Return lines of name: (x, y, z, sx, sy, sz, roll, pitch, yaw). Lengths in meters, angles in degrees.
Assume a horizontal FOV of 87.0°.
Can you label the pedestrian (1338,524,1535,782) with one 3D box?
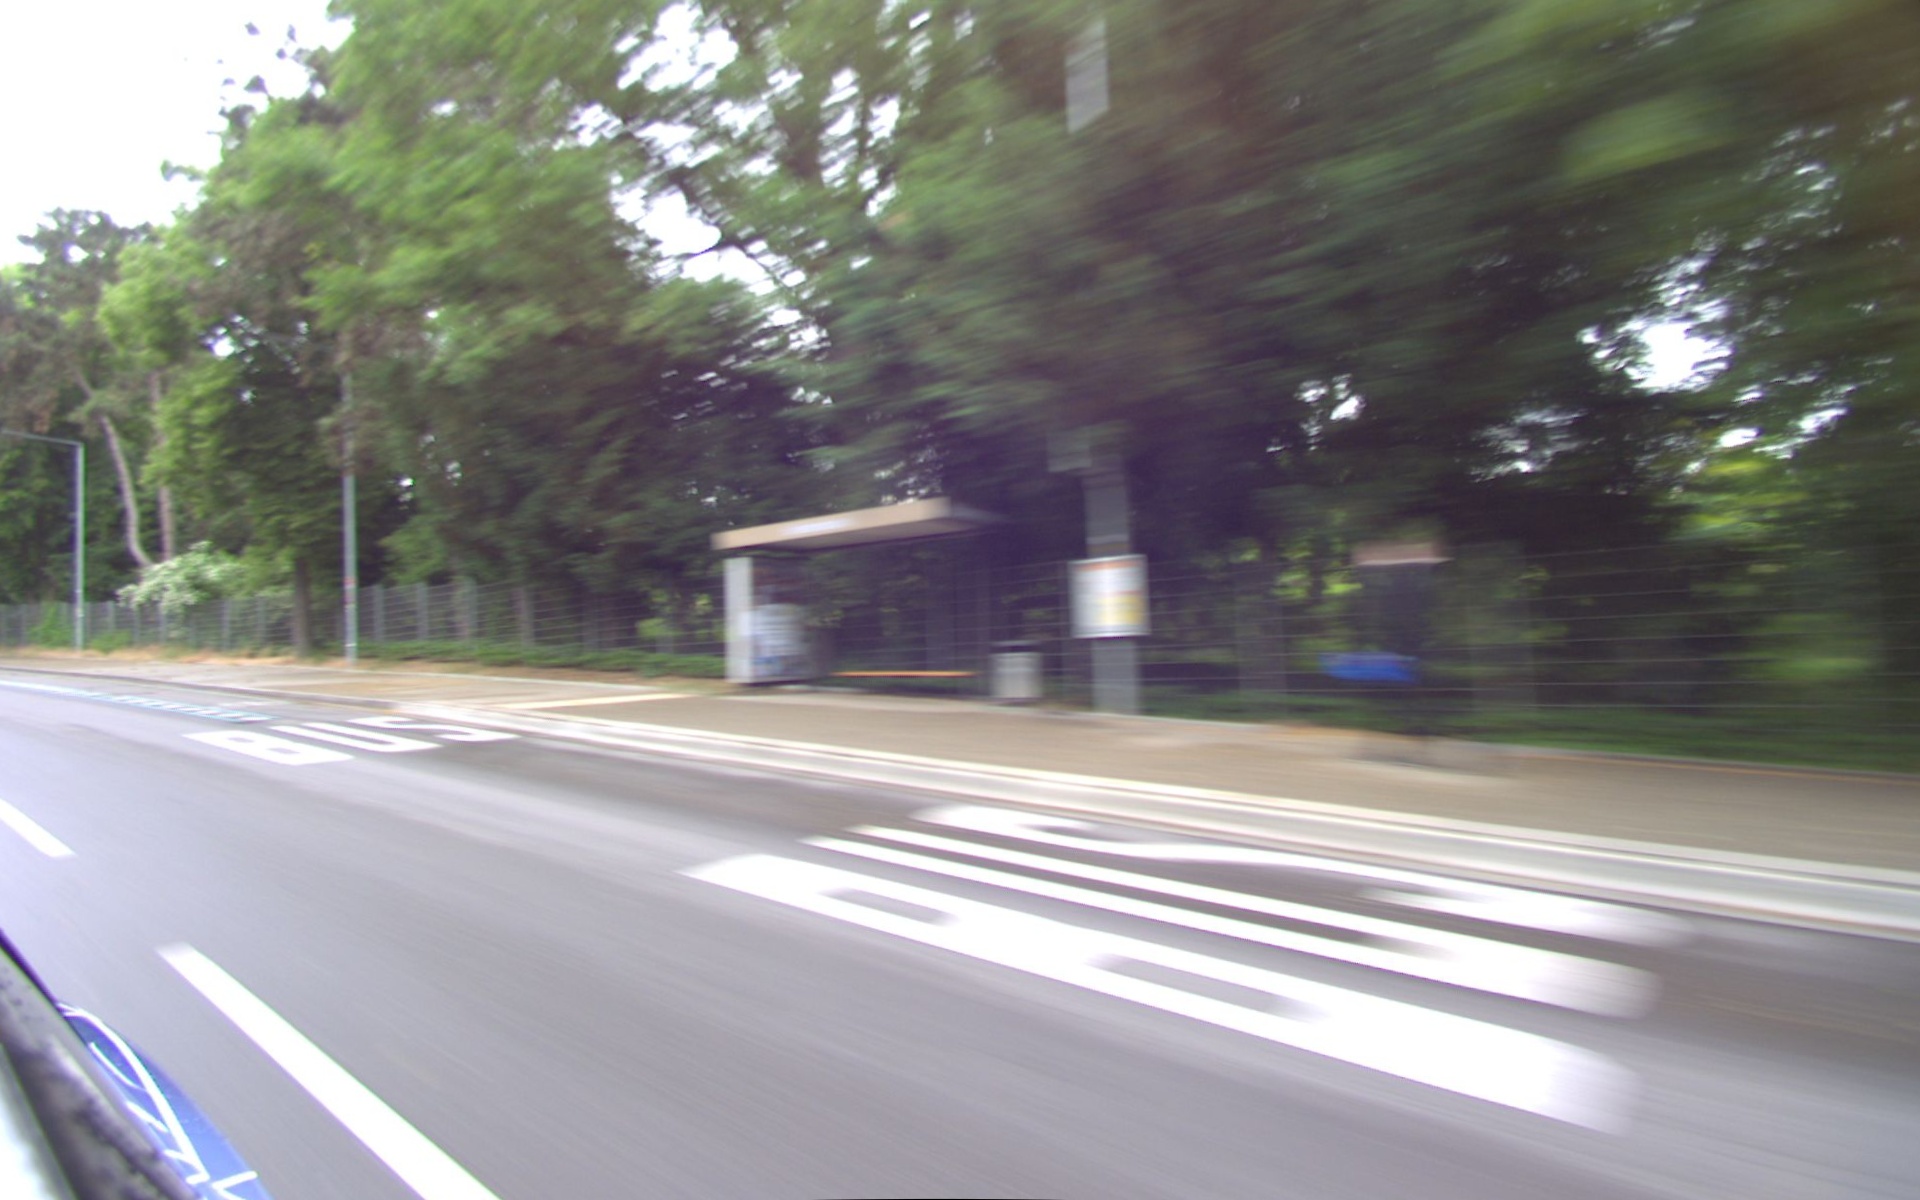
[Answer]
pedestrian: (3.561, 0.367, 7.564, 1.144, 1.746, 0.879, -2, -1, 37)
